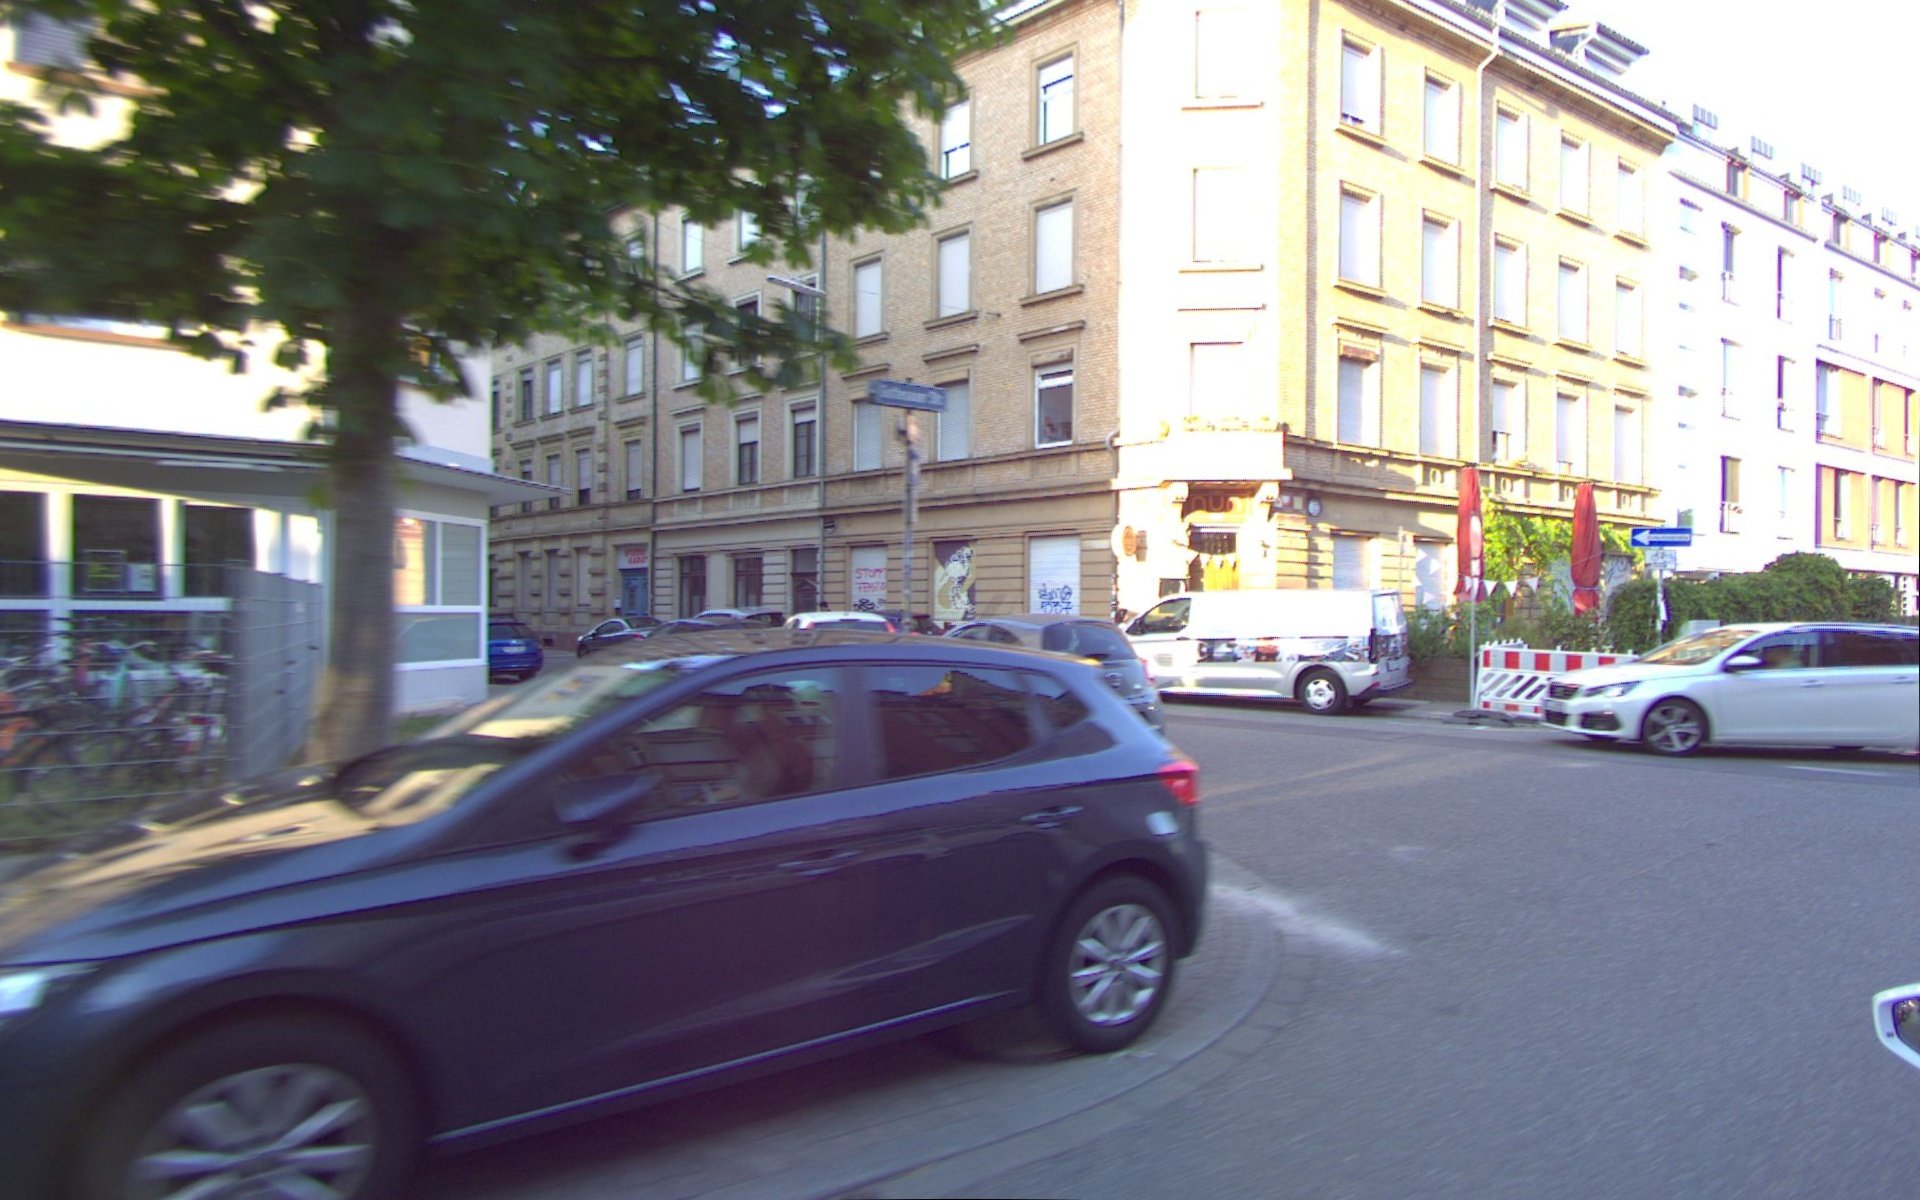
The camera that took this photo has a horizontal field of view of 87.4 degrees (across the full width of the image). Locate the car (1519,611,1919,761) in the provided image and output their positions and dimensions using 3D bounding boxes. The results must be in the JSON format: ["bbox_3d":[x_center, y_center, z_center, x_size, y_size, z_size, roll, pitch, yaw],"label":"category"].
[{"bbox_3d":[9.133,0.911,11.403,4.505,1.543,1.822,0,-1,7],"label":"car"}]

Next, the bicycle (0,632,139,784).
[{"bbox_3d":[-7.450,0.840,7.854,0.491,1.107,1.548,2,1,22],"label":"bicycle"}]

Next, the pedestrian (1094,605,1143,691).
[{"bbox_3d":[3.160,0.937,20.002,0.772,1.640,0.711,2,1,25],"label":"pedestrian"}]

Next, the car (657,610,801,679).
[{"bbox_3d":[-5.986,1.071,25.799,3.940,1.644,1.577,0,0,40],"label":"car"}]

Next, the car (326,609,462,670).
[{"bbox_3d":[-14.914,0.984,26.394,3.938,1.487,1.780,0,0,39],"label":"car"}]

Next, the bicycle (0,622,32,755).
[{"bbox_3d":[-9.400,0.816,9.660,0.496,1.156,1.533,0,1,-35],"label":"bicycle"}]

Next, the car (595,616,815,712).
[{"bbox_3d":[-4.597,1.038,17.808,4.023,1.458,1.987,0,0,44],"label":"car"}]

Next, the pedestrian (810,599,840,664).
[{"bbox_3d":[-3.629,0.834,26.976,0.491,1.709,0.592,2,1,38],"label":"pedestrian"}]

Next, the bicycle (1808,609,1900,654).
[{"bbox_3d":[24.673,0.855,27.755,0.602,1.163,1.769,1,1,-27],"label":"bicycle"}]

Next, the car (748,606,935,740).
[{"bbox_3d":[-1.853,0.914,14.415,1.942,1.529,4.057,1,1,-17],"label":"car"}]

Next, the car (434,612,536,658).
[{"bbox_3d":[-16.632,1.181,35.107,3.940,1.479,1.779,0,0,40],"label":"car"}]

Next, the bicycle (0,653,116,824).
[{"bbox_3d":[-6.710,0.905,6.450,1.913,1.039,0.682,1,1,-36],"label":"bicycle"}]

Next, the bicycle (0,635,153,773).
[{"bbox_3d":[-8.110,0.895,8.746,0.378,1.107,1.710,2,1,23],"label":"bicycle"}]

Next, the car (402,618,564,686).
[{"bbox_3d":[-11.070,1.145,23.229,3.938,1.426,1.867,-1,-1,39],"label":"car"}]

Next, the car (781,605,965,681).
[{"bbox_3d":[-2.018,0.917,22.952,3.855,1.592,2.016,0,0,36],"label":"car"}]

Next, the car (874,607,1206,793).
[{"bbox_3d":[0.667,0.866,10.520,1.823,1.528,3.489,0,1,-30],"label":"car"}]

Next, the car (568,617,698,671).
[{"bbox_3d":[-9.592,1.237,29.385,3.940,1.446,1.835,0,0,40],"label":"car"}]

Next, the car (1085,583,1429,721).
[{"bbox_3d":[4.930,0.762,17.090,5.210,2.001,2.200,0,0,37],"label":"car"}]

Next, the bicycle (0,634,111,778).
[{"bbox_3d":[-7.899,0.866,8.103,0.491,1.107,1.548,2,1,22],"label":"bicycle"}]

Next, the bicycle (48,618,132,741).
[{"bbox_3d":[-8.803,0.760,10.205,0.496,1.107,1.533,0,1,-35],"label":"bicycle"}]

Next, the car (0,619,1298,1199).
[{"bbox_3d":[-0.978,0.831,3.473,4.414,1.481,1.665,1,0,-32],"label":"car"}]
